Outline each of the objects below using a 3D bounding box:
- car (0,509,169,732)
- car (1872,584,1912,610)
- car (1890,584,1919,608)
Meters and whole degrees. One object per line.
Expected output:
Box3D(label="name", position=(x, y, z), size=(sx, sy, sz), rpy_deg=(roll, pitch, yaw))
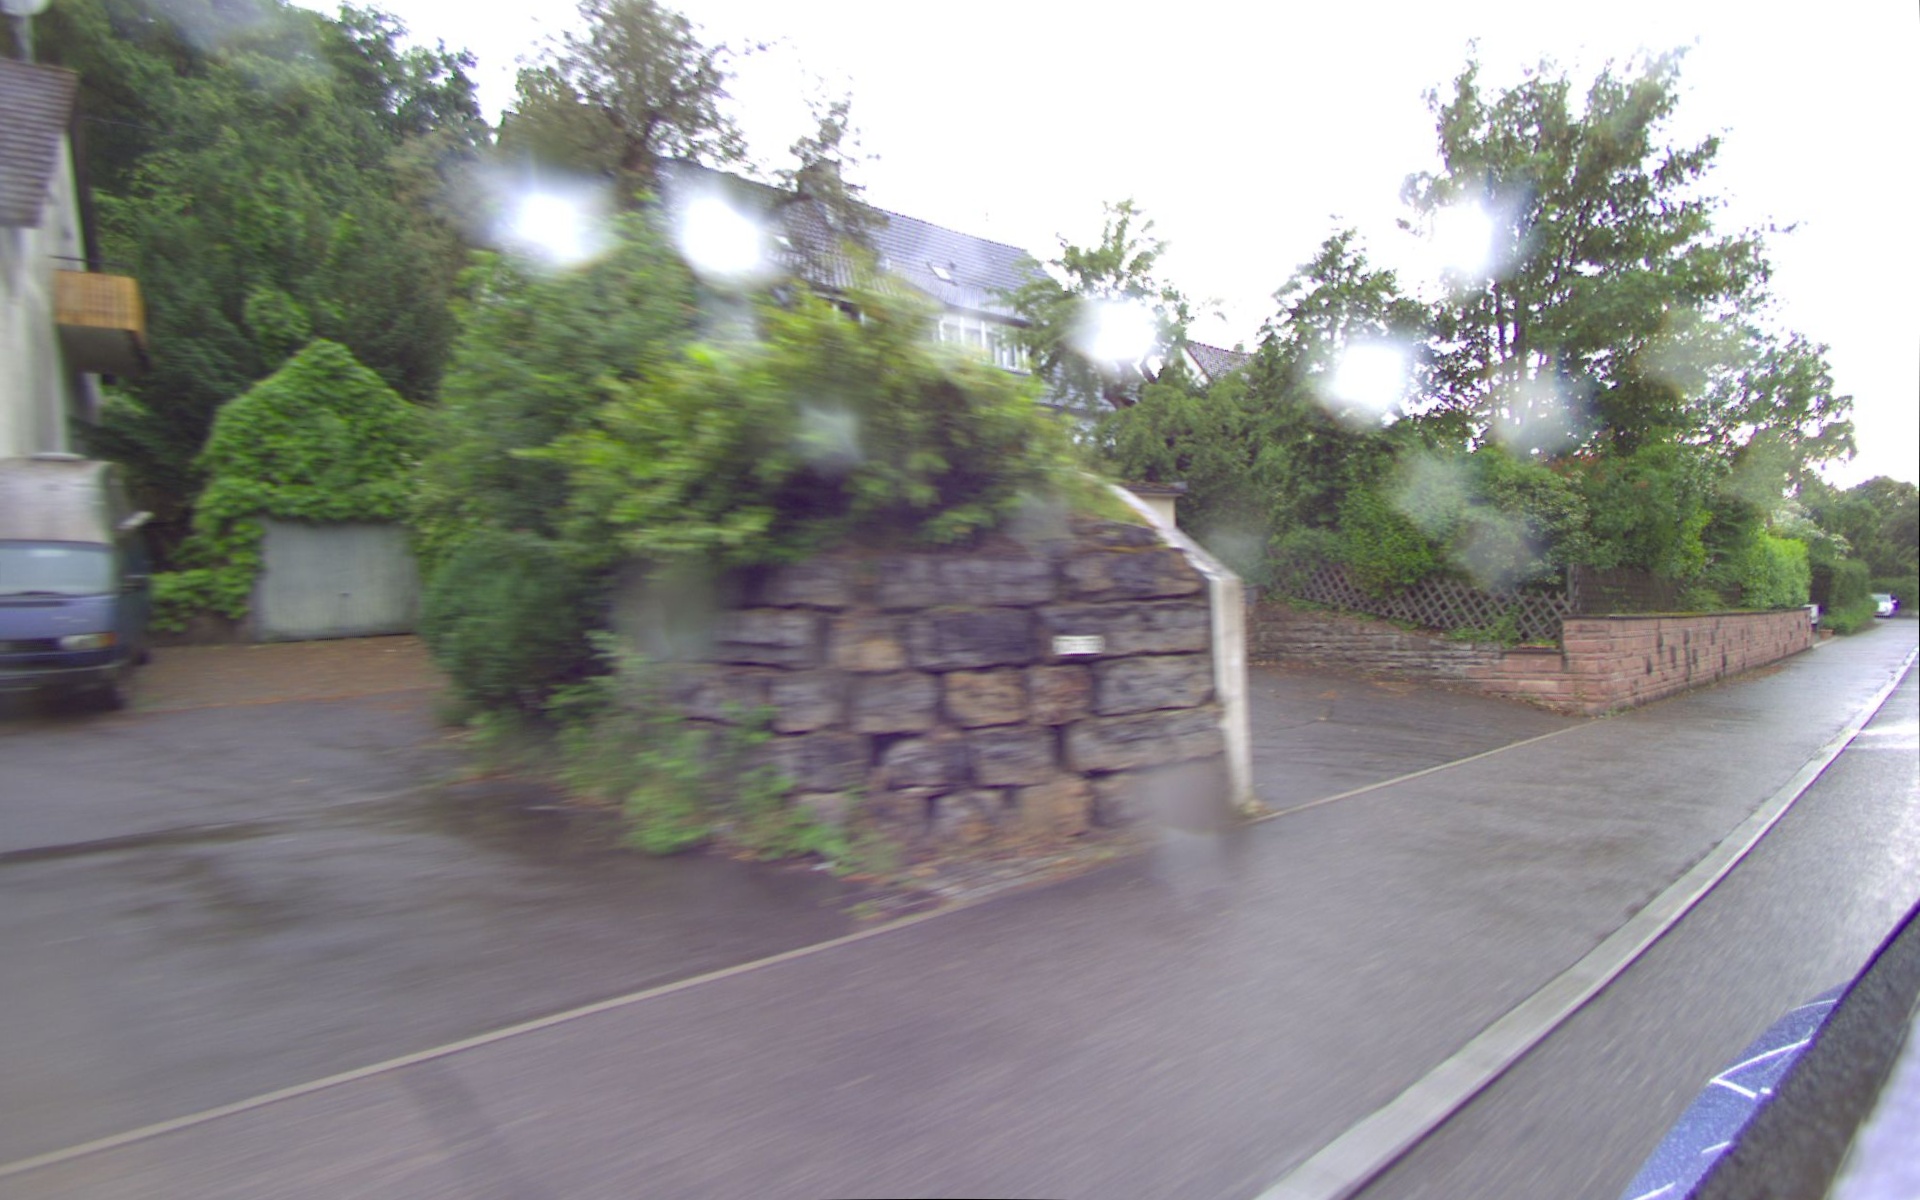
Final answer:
Box3D(label="car", position=(-10.698, 0.049, 11.879), size=(1.778, 1.920, 4.691), rpy_deg=(-1, 8, -33))
Box3D(label="car", position=(58.380, -0.217, 63.384), size=(3.781, 1.554, 1.533), rpy_deg=(0, 2, -43))
Box3D(label="car", position=(71.590, -0.375, 74.450), size=(1.692, 1.739, 4.352), rpy_deg=(-1, -3, -16))
